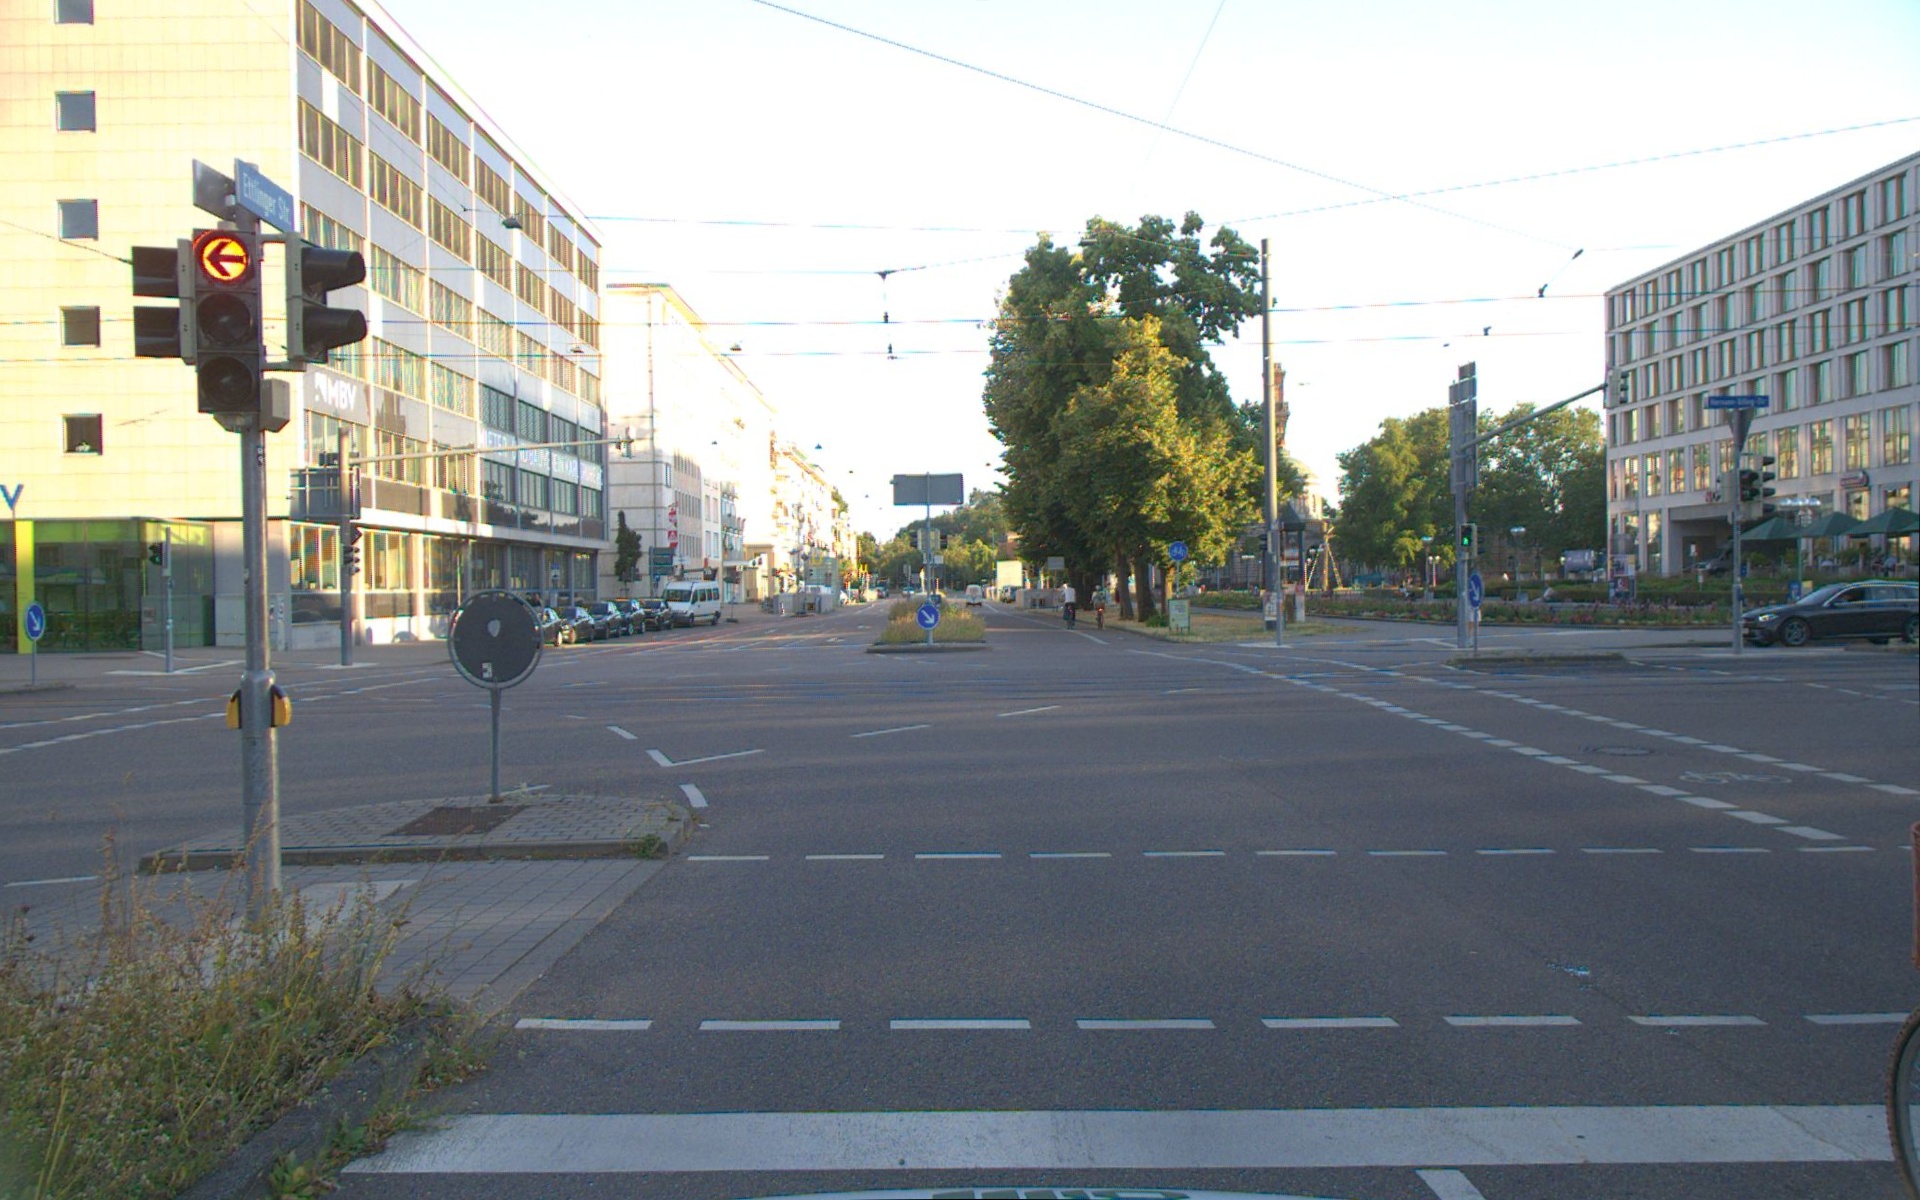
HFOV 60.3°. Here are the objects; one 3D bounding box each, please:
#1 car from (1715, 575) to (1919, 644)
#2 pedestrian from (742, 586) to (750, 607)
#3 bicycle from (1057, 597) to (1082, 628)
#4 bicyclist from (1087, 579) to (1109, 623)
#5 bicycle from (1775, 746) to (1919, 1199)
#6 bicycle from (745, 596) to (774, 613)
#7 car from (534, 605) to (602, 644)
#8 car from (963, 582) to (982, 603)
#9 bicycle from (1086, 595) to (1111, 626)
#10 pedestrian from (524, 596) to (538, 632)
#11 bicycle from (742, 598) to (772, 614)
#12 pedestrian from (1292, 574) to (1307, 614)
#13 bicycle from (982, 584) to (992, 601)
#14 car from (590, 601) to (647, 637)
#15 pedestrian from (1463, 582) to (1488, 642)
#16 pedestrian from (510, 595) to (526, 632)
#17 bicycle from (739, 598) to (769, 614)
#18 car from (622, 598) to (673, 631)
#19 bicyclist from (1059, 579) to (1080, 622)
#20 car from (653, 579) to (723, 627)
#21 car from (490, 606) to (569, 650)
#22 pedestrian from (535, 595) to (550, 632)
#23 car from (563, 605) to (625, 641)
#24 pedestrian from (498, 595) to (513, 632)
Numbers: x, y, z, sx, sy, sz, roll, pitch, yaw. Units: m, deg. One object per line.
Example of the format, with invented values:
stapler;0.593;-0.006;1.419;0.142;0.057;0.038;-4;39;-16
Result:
car;21.068;0.211;39.965;4.724;1.542;2.000;-1;0;1
pedestrian;-21.335;-0.364;164.659;0.666;2.049;0.545;-2;0;-1
bicycle;4.310;0.477;65.239;0.731;1.164;2.505;-1;0;-1
bicyclist;5.398;0.040;64.671;0.731;1.720;0.799;-1;0;-1
bicycle;2.189;0.920;2.807;0.599;1.152;2.004;1;0;-1
bicycle;-15.581;0.316;128.642;2.161;1.258;0.839;-1;0;-2
car;-16.107;0.981;68.176;1.882;1.489;3.999;-1;0;-1
car;1.001;-0.602;134.326;1.379;1.670;3.998;-1;0;-2
bicycle;5.409;0.416;64.668;0.731;1.164;2.505;-1;0;-1
pedestrian;-20.122;0.651;77.529;0.490;1.708;0.500;-1;0;-1
bicycle;-15.563;0.464;126.822;2.161;1.131;0.689;-1;0;-2
pedestrian;14.411;-0.263;70.225;0.451;1.685;0.566;-1;0;-1
bicycle;3.389;-0.956;207.250;0.981;2.049;4.002;-1;0;4
car;-16.122;0.869;78.294;1.882;1.595;3.999;-1;0;-1
pedestrian;13.647;0.320;43.789;0.480;1.566;0.408;-1;0;-1
pedestrian;-20.578;0.645;76.988;0.540;1.708;0.500;-1;0;-1
bicycle;-15.572;0.450;125.175;2.161;1.131;0.618;-1;0;-3
car;-15.947;0.720;84.525;1.882;1.595;3.999;-1;0;-1
bicyclist;4.303;0.013;65.158;0.731;1.692;0.873;-1;0;-1
car;-14.929;0.131;91.000;1.958;2.521;5.873;-1;0;9
car;-15.998;1.021;61.664;1.882;1.489;4.102;-1;0;-1
pedestrian;-19.497;0.606;77.248;0.540;1.708;0.500;-1;0;-1
car;-16.126;1.000;72.990;1.882;1.489;3.999;-1;0;-1
pedestrian;-21.157;0.635;77.056;0.540;1.708;0.500;-1;0;-1
